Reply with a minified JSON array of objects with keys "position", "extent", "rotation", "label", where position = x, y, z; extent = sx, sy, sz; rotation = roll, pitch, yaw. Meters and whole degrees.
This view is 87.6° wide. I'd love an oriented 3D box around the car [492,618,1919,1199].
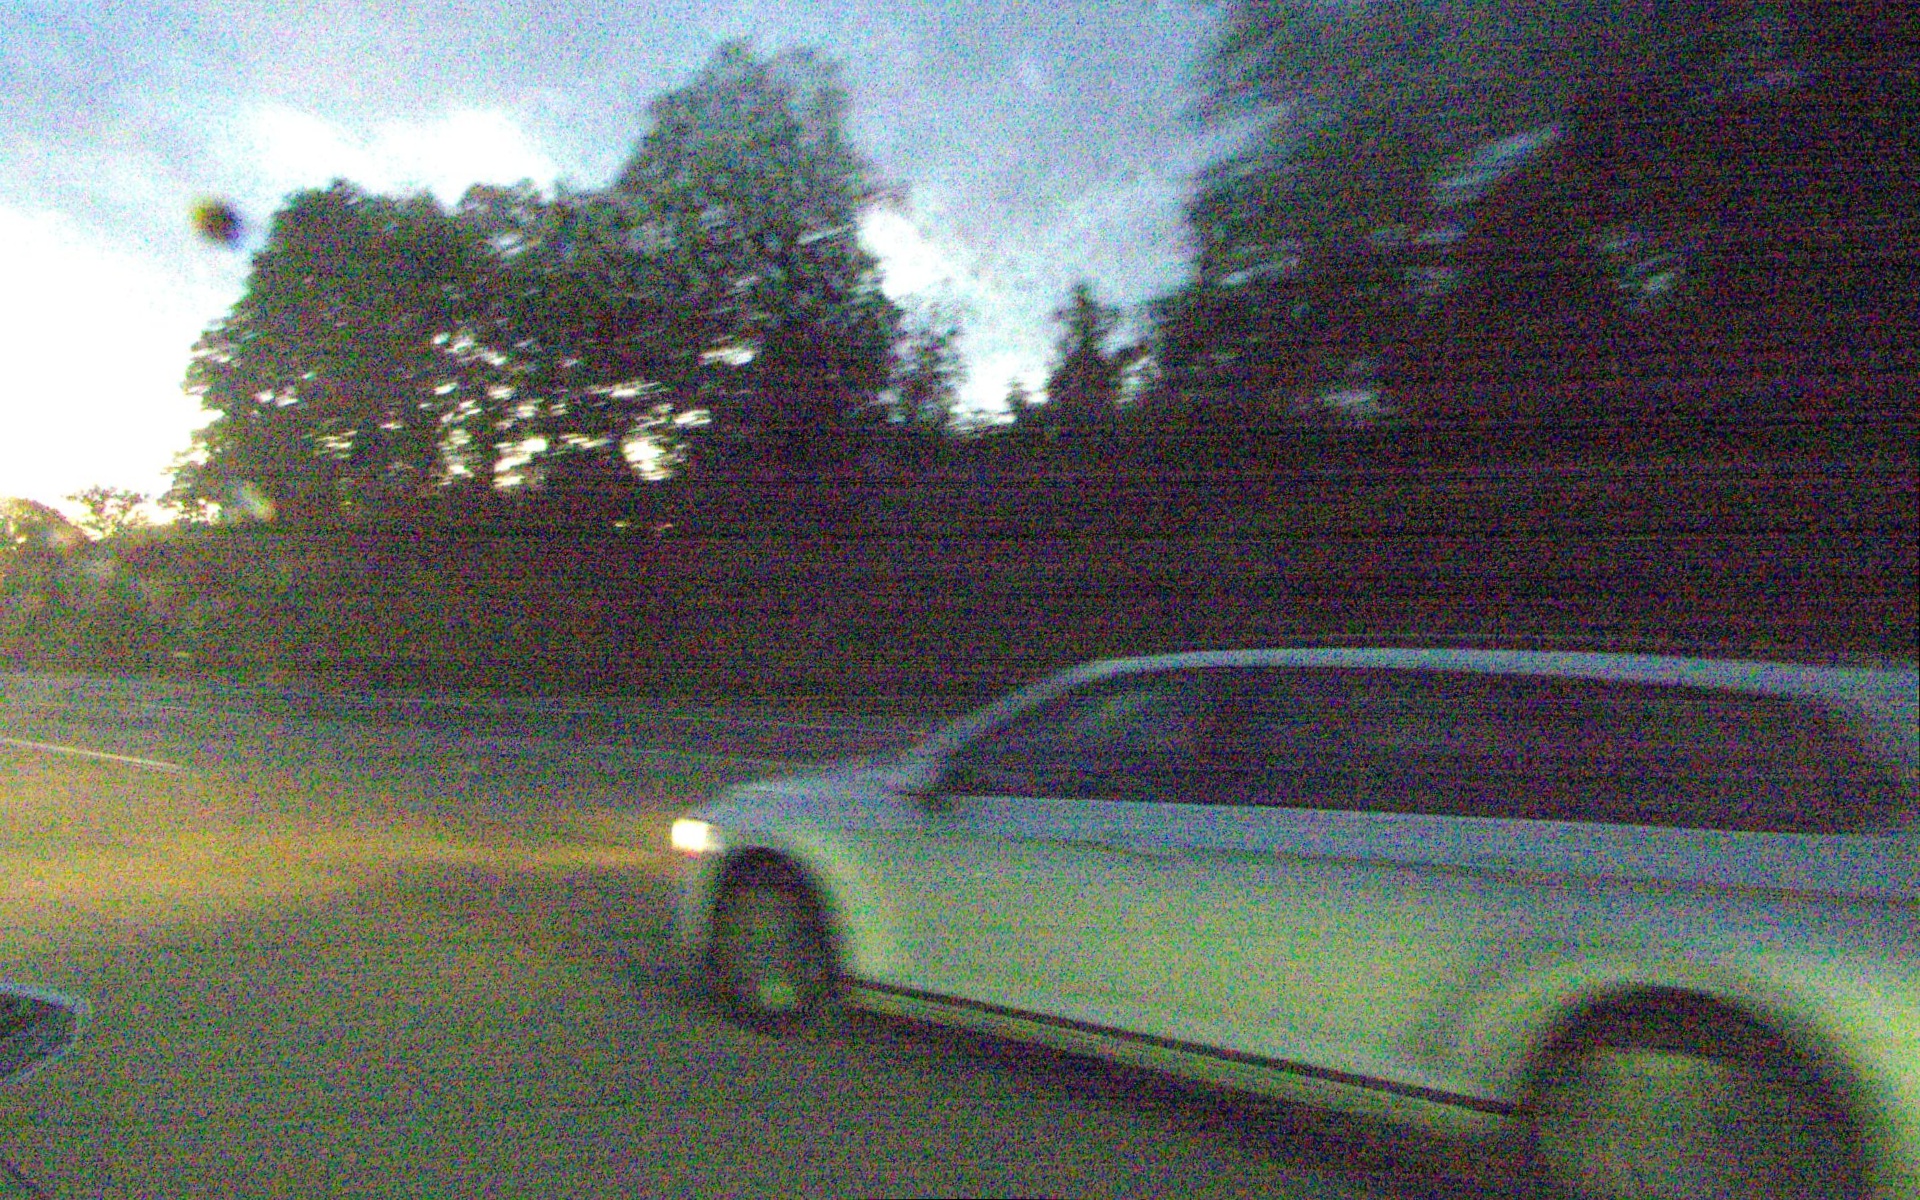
[{"position":[0.524,0.844,3.890],"extent":[5.058,1.485,1.806],"rotation":[0,-1,32],"label":"car"}]
